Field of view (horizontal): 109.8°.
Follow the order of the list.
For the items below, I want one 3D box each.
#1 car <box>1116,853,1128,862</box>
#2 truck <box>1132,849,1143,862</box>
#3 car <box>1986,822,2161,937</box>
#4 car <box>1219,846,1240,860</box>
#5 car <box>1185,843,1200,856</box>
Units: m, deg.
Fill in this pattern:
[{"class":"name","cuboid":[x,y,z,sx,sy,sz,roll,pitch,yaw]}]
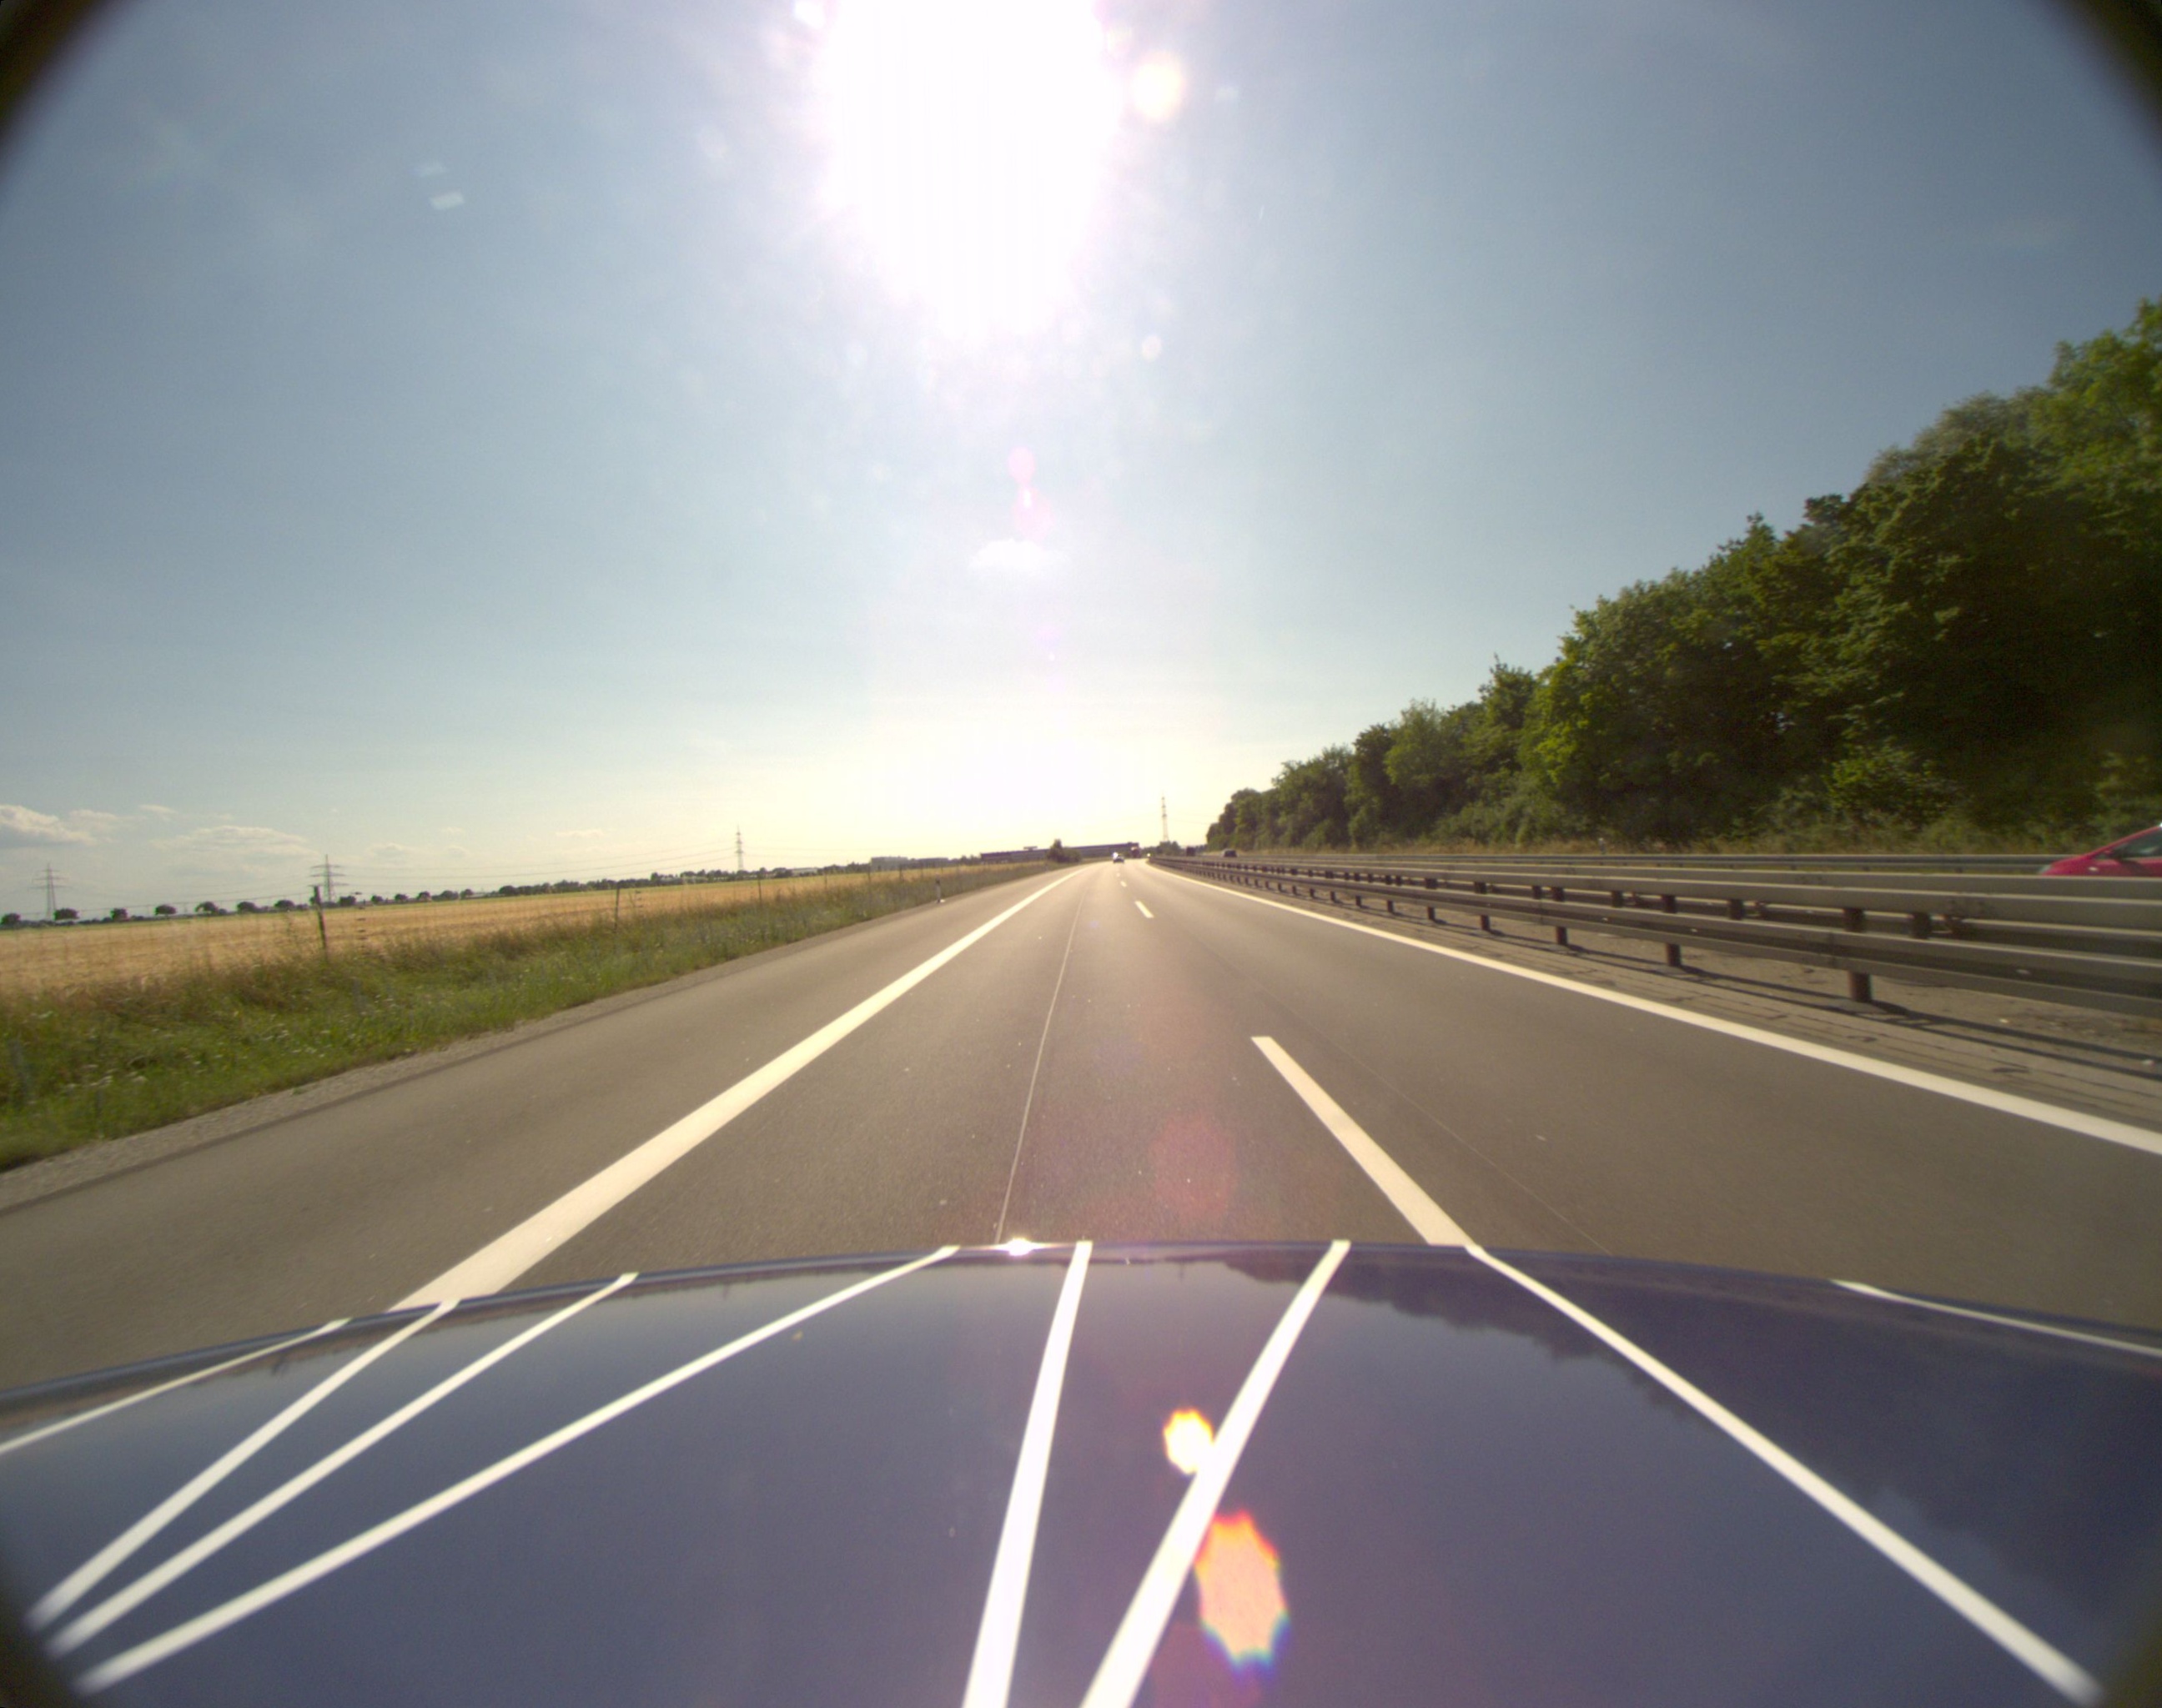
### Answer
[{"class":"car","cuboid":[7.032,0.606,131.296,1.860,1.361,4.000,-3,0,2]},{"class":"truck","cuboid":[19.470,0.465,260.760,2.569,3.938,8.650,-5,-1,10]},{"class":"car","cuboid":[14.586,0.302,9.468,1.677,1.429,4.142,-3,0,1]},{"class":"car","cuboid":[18.916,-0.139,96.891,1.815,1.546,4.849,-3,0,2]},{"class":"car","cuboid":[24.126,-0.972,165.087,2.549,2.580,6.594,-3,0,3]}]
